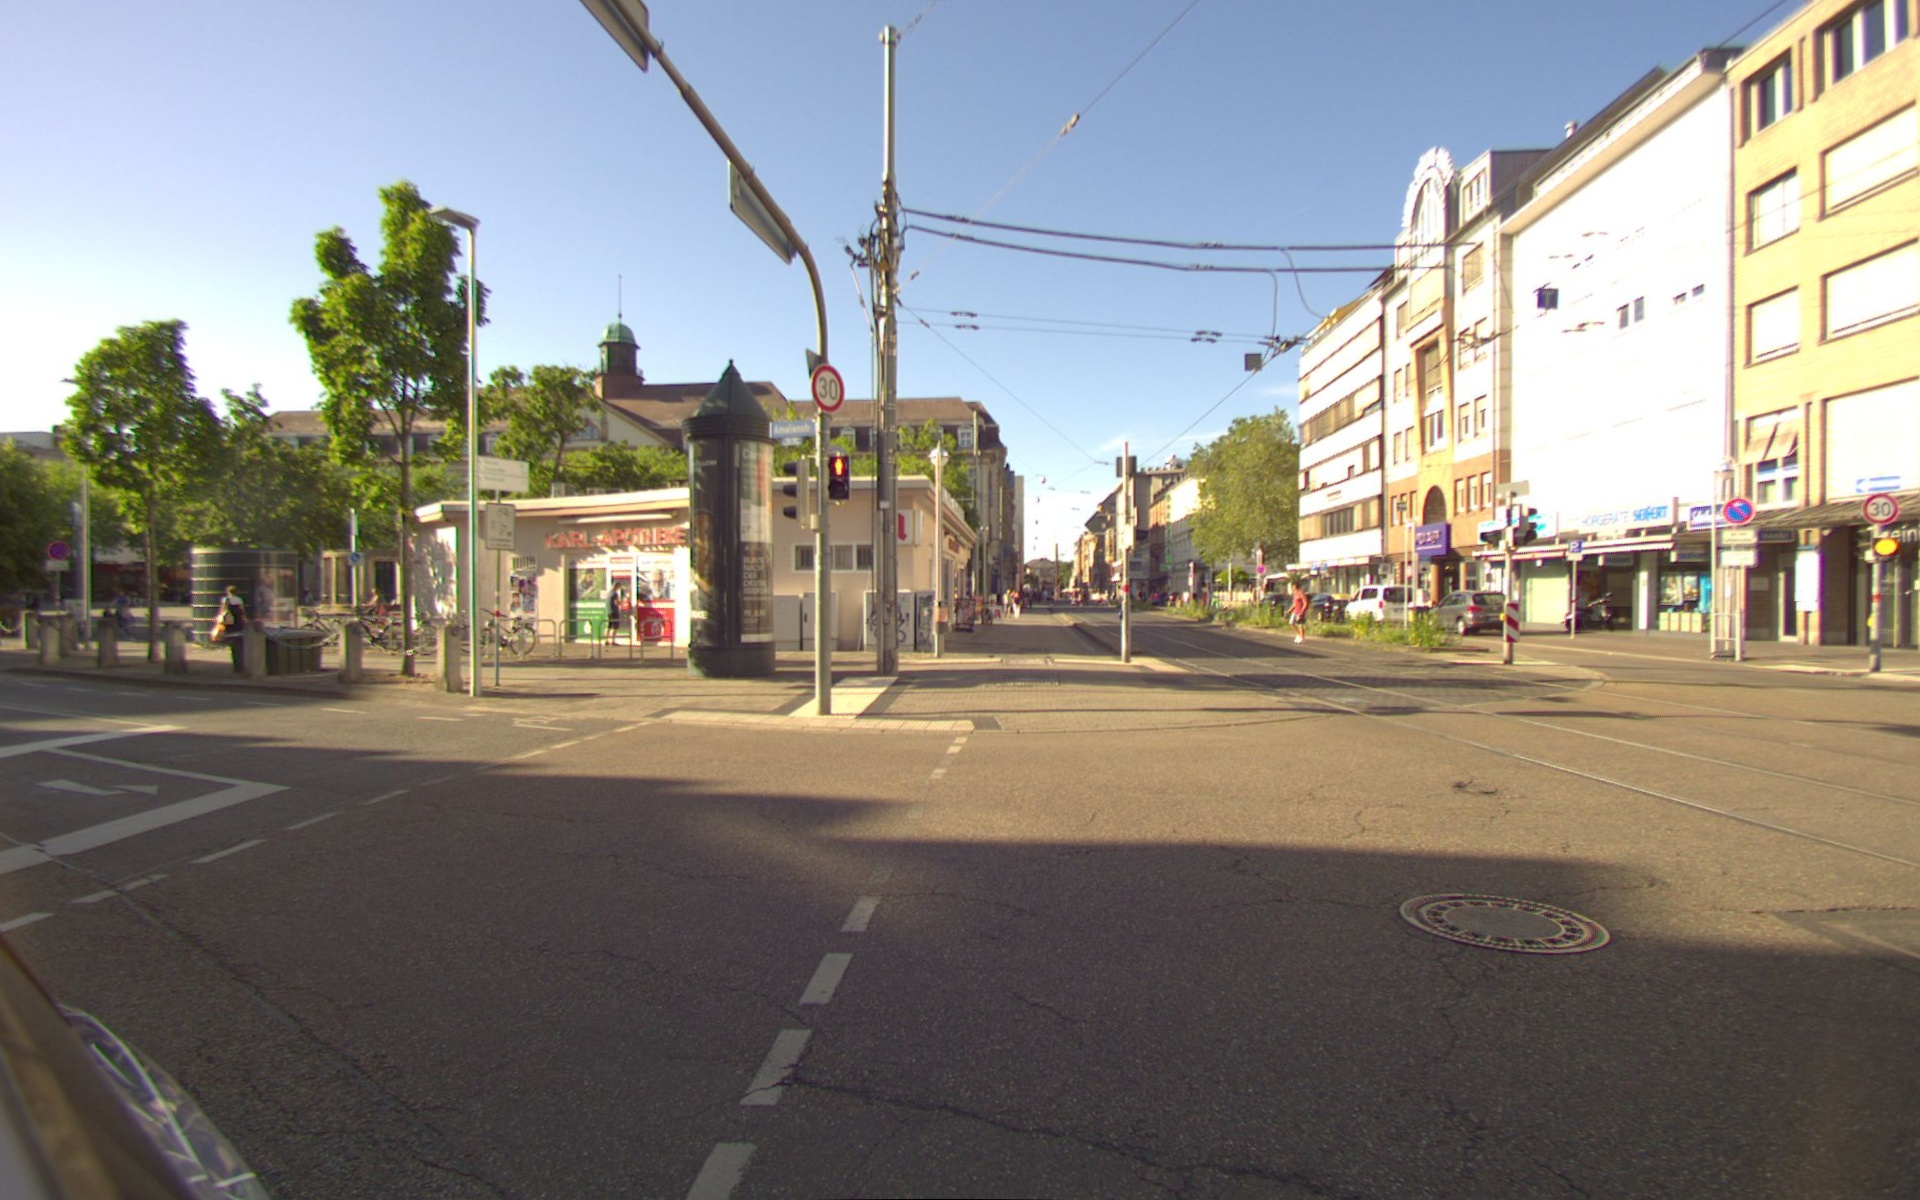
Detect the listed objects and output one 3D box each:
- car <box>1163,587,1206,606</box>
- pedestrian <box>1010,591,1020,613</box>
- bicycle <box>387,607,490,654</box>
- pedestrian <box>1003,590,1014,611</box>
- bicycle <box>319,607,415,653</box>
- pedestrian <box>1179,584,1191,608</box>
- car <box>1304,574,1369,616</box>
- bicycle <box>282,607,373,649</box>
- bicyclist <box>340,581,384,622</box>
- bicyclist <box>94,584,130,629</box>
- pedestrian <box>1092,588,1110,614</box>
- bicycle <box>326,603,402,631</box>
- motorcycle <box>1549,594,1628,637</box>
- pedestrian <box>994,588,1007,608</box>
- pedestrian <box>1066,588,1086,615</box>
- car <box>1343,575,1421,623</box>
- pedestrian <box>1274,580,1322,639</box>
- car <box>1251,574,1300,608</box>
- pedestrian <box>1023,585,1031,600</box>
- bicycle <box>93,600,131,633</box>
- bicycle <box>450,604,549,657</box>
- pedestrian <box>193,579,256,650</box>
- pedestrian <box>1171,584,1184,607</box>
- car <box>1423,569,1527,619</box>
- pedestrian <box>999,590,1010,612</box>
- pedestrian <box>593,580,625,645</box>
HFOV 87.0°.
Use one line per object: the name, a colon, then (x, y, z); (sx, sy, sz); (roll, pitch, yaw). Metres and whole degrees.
car: (22.345, -0.351, 100.958); (3.949, 1.811, 1.997); (0, 0, 5)
pedestrian: (3.304, 0.118, 60.782); (0.501, 1.283, 0.721); (-1, 0, -7)
bicycle: (-12.428, 0.707, 24.168); (0.888, 1.010, 1.991); (0, 1, 42)
pedestrian: (3.291, 0.027, 68.855); (0.681, 1.390, 0.780); (-1, 0, -2)
bicycle: (-14.579, 0.715, 24.916); (0.764, 1.010, 1.868); (0, 1, 36)
pedestrian: (16.288, -0.311, 73.203); (0.696, 1.727, 0.581); (-1, 1, -42)
car: (19.104, -0.273, 51.484); (1.974, 2.029, 3.996); (-1, 0, 4)
bicycle: (-16.592, 0.710, 26.579); (0.764, 1.010, 1.868); (0, 1, 36)
bicyclist: (-23.814, 0.047, 40.284); (1.350, 1.609, 0.984); (-2, 2, -38)
bicyclist: (-31.226, 0.221, 37.250); (0.929, 1.620, 1.171); (-1, 1, -43)
pedestrian: (15.182, 0.089, 108.644); (1.822, 2.811, 1.288); (0, 1, 13)
bicycle: (-23.744, 0.668, 40.367); (2.533, 1.015, 0.786); (-1, 1, -39)
motorcycle: (22.854, 0.554, 36.816); (2.225, 1.516, 1.000); (-1, 0, 2)
pedestrian: (3.030, -0.135, 76.377); (0.935, 1.476, 0.778); (0, 0, 6)
pedestrian: (12.413, 0.152, 108.069); (1.932, 2.811, 1.373); (0, 1, 13)
car: (19.031, -0.072, 45.886); (1.976, 2.029, 4.832); (-1, 0, 7)
pedestrian: (9.740, 0.261, 29.160); (0.929, 1.676, 0.920); (-1, 0, -24)
car: (19.486, -0.548, 62.754); (1.974, 2.029, 3.996); (-1, 0, 4)
pedestrian: (6.281, -0.727, 95.198); (0.683, 1.390, 0.778); (0, 0, 6)
bicycle: (-31.282, 0.594, 37.338); (0.929, 1.141, 2.481); (-1, 1, -43)
bicycle: (-10.447, 0.669, 23.027); (0.750, 1.096, 1.975); (0, 1, 30)
pedestrian: (-18.275, 0.356, 25.153); (1.082, 1.710, 0.893); (0, 1, 32)
pedestrian: (15.841, -0.313, 73.682); (0.696, 1.637, 0.581); (-1, 1, -42)
car: (18.996, -0.239, 37.511); (1.974, 1.719, 3.996); (-1, 0, 4)
pedestrian: (2.655, 0.052, 60.335); (0.614, 1.283, 0.780); (0, 0, -1)
pedestrian: (-9.390, 0.326, 27.089); (0.608, 1.722, 0.516); (0, 0, 28)
